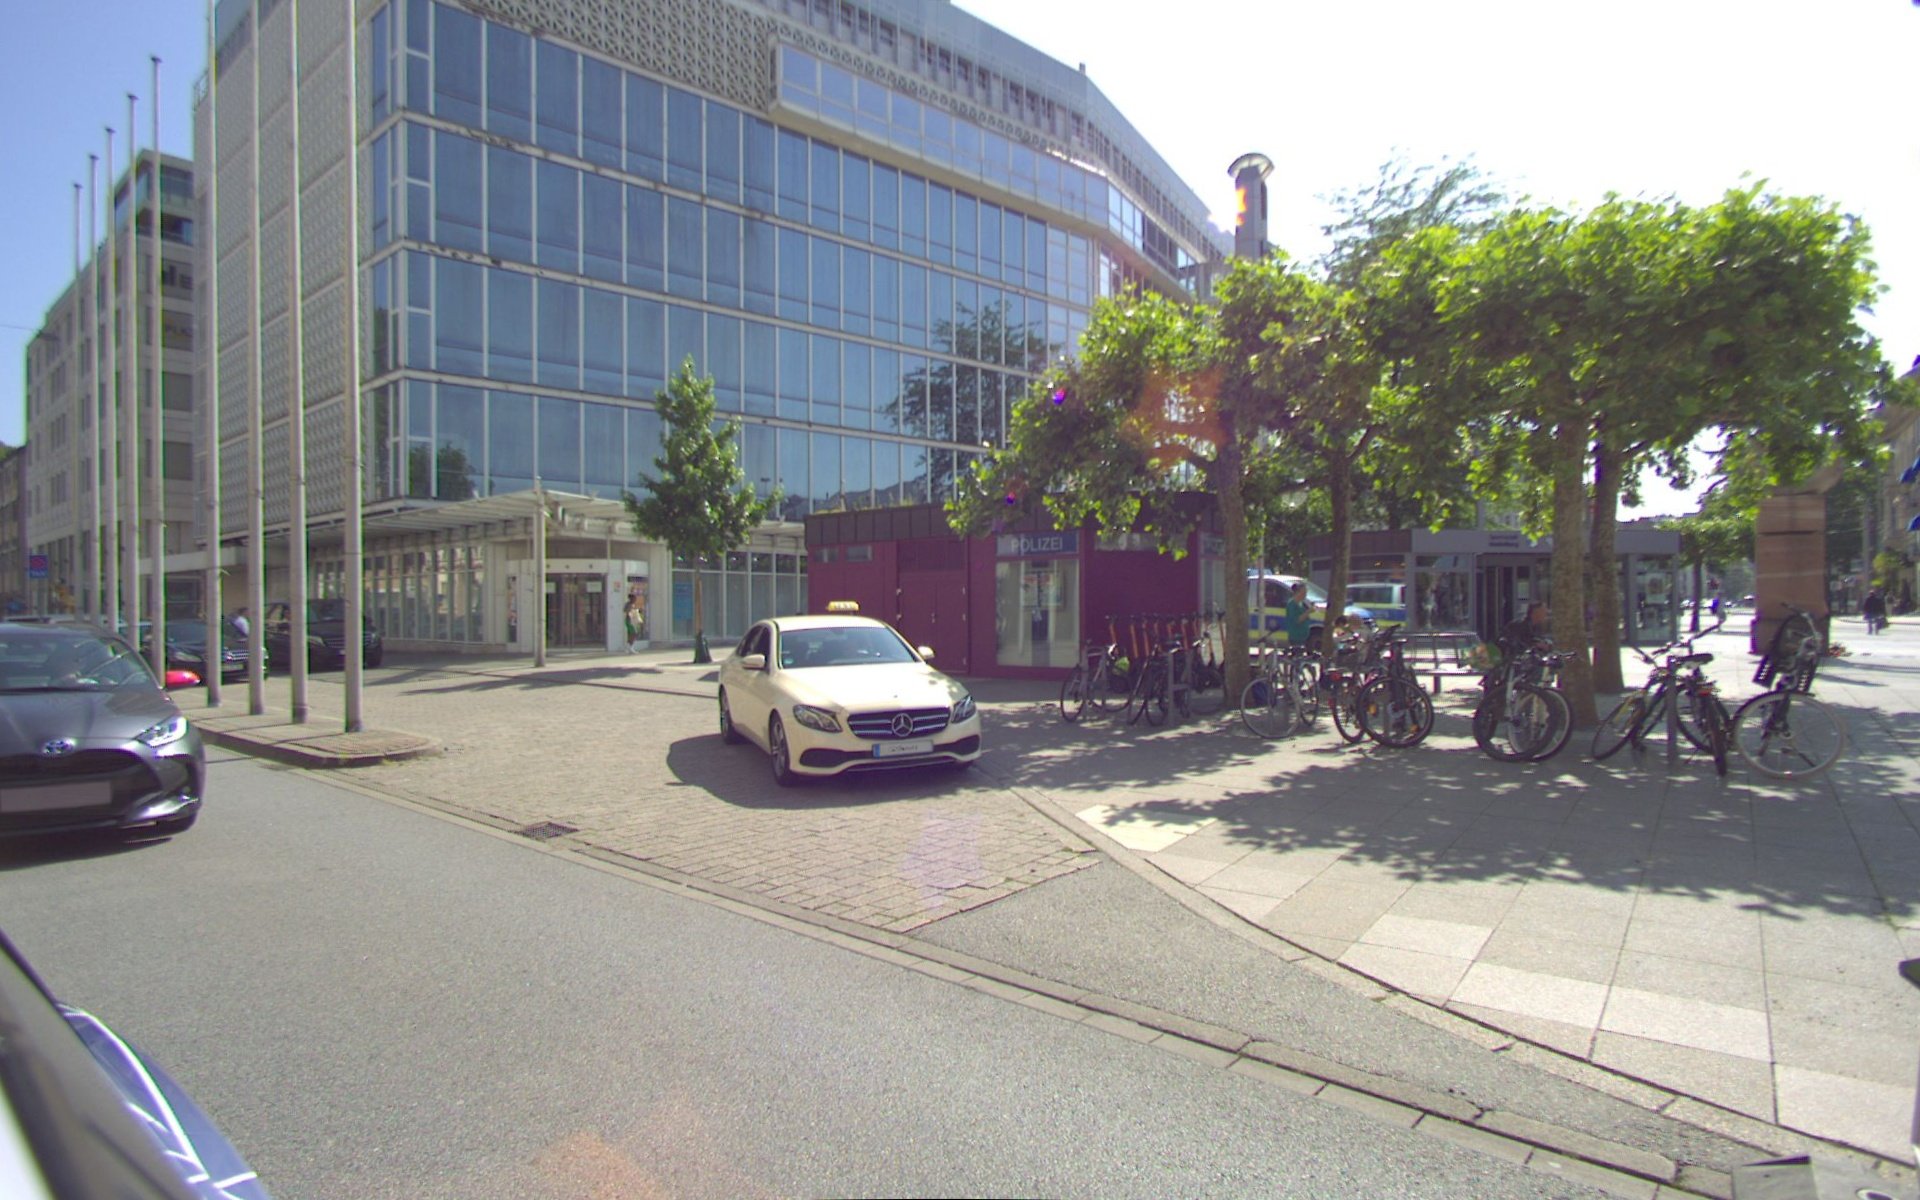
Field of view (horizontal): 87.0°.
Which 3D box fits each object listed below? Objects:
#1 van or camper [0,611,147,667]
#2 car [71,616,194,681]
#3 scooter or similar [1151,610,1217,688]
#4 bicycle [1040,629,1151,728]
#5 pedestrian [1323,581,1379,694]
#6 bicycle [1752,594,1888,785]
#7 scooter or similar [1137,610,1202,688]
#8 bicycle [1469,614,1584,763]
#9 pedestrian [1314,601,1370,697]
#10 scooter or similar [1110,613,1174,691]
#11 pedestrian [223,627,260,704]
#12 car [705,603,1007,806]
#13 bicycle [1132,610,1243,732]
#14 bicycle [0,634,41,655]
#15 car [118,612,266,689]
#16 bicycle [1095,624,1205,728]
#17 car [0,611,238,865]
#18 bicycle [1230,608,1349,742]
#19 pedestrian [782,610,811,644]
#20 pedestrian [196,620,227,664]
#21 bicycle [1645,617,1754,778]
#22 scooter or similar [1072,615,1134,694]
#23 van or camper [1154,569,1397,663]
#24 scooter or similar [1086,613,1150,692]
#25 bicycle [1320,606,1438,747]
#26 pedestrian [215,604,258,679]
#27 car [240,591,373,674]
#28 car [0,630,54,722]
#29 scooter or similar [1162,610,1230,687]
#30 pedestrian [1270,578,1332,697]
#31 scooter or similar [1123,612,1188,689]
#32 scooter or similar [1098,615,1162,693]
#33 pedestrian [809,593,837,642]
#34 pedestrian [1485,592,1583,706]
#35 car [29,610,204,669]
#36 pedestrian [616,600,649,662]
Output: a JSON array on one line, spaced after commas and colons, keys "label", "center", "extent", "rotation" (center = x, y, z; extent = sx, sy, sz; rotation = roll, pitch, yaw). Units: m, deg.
[{"label": "van or camper", "center": [-36.213, 1.545, 41.098], "extent": [4.585, 2.029, 2.004], "rotation": [-2, 0, -10]}, {"label": "car", "center": [-22.273, 1.273, 27.173], "extent": [4.736, 1.534, 1.780], "rotation": [-2, -1, 41]}, {"label": "scooter or similar", "center": [3.694, 0.791, 16.767], "extent": [0.230, 1.223, 1.307], "rotation": [-1, 0, -29]}, {"label": "bicycle", "center": [1.739, 0.946, 12.746], "extent": [0.562, 1.114, 1.765], "rotation": [-2, -1, 38]}, {"label": "pedestrian", "center": [5.839, 0.543, 15.094], "extent": [0.670, 1.618, 0.798], "rotation": [-1, 0, 28]}, {"label": "bicycle", "center": [7.042, 0.658, 8.361], "extent": [0.740, 1.358, 1.765], "rotation": [-2, 1, 38]}, {"label": "scooter or similar", "center": [3.444, 0.789, 16.729], "extent": [0.230, 1.223, 1.307], "rotation": [-1, 0, -29]}, {"label": "bicycle", "center": [5.309, 0.764, 9.438], "extent": [0.662, 1.224, 1.765], "rotation": [-2, -1, 38]}, {"label": "pedestrian", "center": [5.470, 0.687, 14.479], "extent": [0.683, 1.319, 0.668], "rotation": [-1, 0, 24]}, {"label": "scooter or similar", "center": [2.960, 0.830, 16.580], "extent": [0.230, 1.223, 1.307], "rotation": [-1, 0, -29]}, {"label": "pedestrian", "center": [-17.242, 1.571, 24.296], "extent": [0.524, 1.806, 0.540], "rotation": [-1, -1, -10]}, {"label": "car", "center": [-1.380, 0.874, 10.608], "extent": [1.864, 1.553, 4.877], "rotation": [-1, -1, -22]}, {"label": "bicycle", "center": [2.709, 0.787, 11.950], "extent": [0.562, 1.319, 1.765], "rotation": [-2, -1, 38]}, {"label": "bicycle", "center": [-53.750, 2.523, 57.606], "extent": [2.028, 1.135, 0.649], "rotation": [-1, -1, -23]}, {"label": "car", "center": [-17.845, 1.125, 23.438], "extent": [4.706, 1.612, 1.743], "rotation": [-2, -1, 40]}, {"label": "bicycle", "center": [2.355, 0.890, 12.409], "extent": [0.562, 1.141, 1.765], "rotation": [-2, -1, 38]}, {"label": "car", "center": [-6.989, 0.900, 7.506], "extent": [4.106, 1.489, 1.843], "rotation": [-3, -5, 43]}, {"label": "bicycle", "center": [3.623, 0.758, 11.036], "extent": [0.662, 1.319, 1.765], "rotation": [-2, -1, 38]}, {"label": "pedestrian", "center": [-5.810, 0.947, 35.898], "extent": [0.651, 1.155, 0.768], "rotation": [-2, 0, 38]}, {"label": "pedestrian", "center": [-29.509, 1.638, 39.925], "extent": [0.640, 1.673, 0.780], "rotation": [0, 2, 38]}, {"label": "bicycle", "center": [6.305, 0.758, 8.610], "extent": [0.662, 1.194, 1.765], "rotation": [-2, -1, 38]}, {"label": "scooter or similar", "center": [2.290, 0.856, 16.314], "extent": [0.230, 1.223, 1.307], "rotation": [-1, 0, -29]}, {"label": "van or camper", "center": [7.138, 0.353, 23.259], "extent": [5.020, 1.933, 1.854], "rotation": [-1, 0, 39]}, {"label": "scooter or similar", "center": [2.536, 0.833, 16.373], "extent": [0.230, 1.223, 1.307], "rotation": [-1, 0, -29]}, {"label": "bicycle", "center": [4.368, 0.731, 10.473], "extent": [0.662, 1.319, 1.765], "rotation": [-2, -1, 38]}, {"label": "pedestrian", "center": [-17.852, 1.005, 24.990], "extent": [0.610, 1.806, 0.694], "rotation": [-1, -1, -10]}, {"label": "car", "center": [-17.657, 0.856, 27.245], "extent": [4.683, 2.029, 1.813], "rotation": [-2, -1, 41]}, {"label": "car", "center": [-16.625, 1.226, 16.978], "extent": [4.106, 1.407, 1.711], "rotation": [-1, -1, 42]}, {"label": "scooter or similar", "center": [3.923, 0.788, 16.877], "extent": [0.260, 1.223, 1.307], "rotation": [-1, 0, -29]}, {"label": "pedestrian", "center": [4.991, 0.533, 14.792], "extent": [0.685, 1.690, 0.666], "rotation": [-2, 0, 33]}, {"label": "scooter or similar", "center": [3.203, 0.809, 16.641], "extent": [0.230, 1.223, 1.307], "rotation": [-1, 0, -29]}, {"label": "scooter or similar", "center": [2.754, 0.857, 16.459], "extent": [0.230, 1.223, 1.307], "rotation": [-1, 0, -29]}, {"label": "pedestrian", "center": [-5.076, 0.630, 37.398], "extent": [0.651, 1.778, 0.768], "rotation": [-2, 0, 38]}, {"label": "pedestrian", "center": [7.366, 0.608, 12.994], "extent": [0.662, 1.392, 0.898], "rotation": [-1, 0, -40]}, {"label": "car", "center": [-29.867, 1.381, 35.981], "extent": [4.372, 1.924, 2.014], "rotation": [-1, -1, -13]}, {"label": "pedestrian", "center": [-9.234, 0.871, 28.535], "extent": [0.674, 1.728, 0.723], "rotation": [1, -2, -40]}]
